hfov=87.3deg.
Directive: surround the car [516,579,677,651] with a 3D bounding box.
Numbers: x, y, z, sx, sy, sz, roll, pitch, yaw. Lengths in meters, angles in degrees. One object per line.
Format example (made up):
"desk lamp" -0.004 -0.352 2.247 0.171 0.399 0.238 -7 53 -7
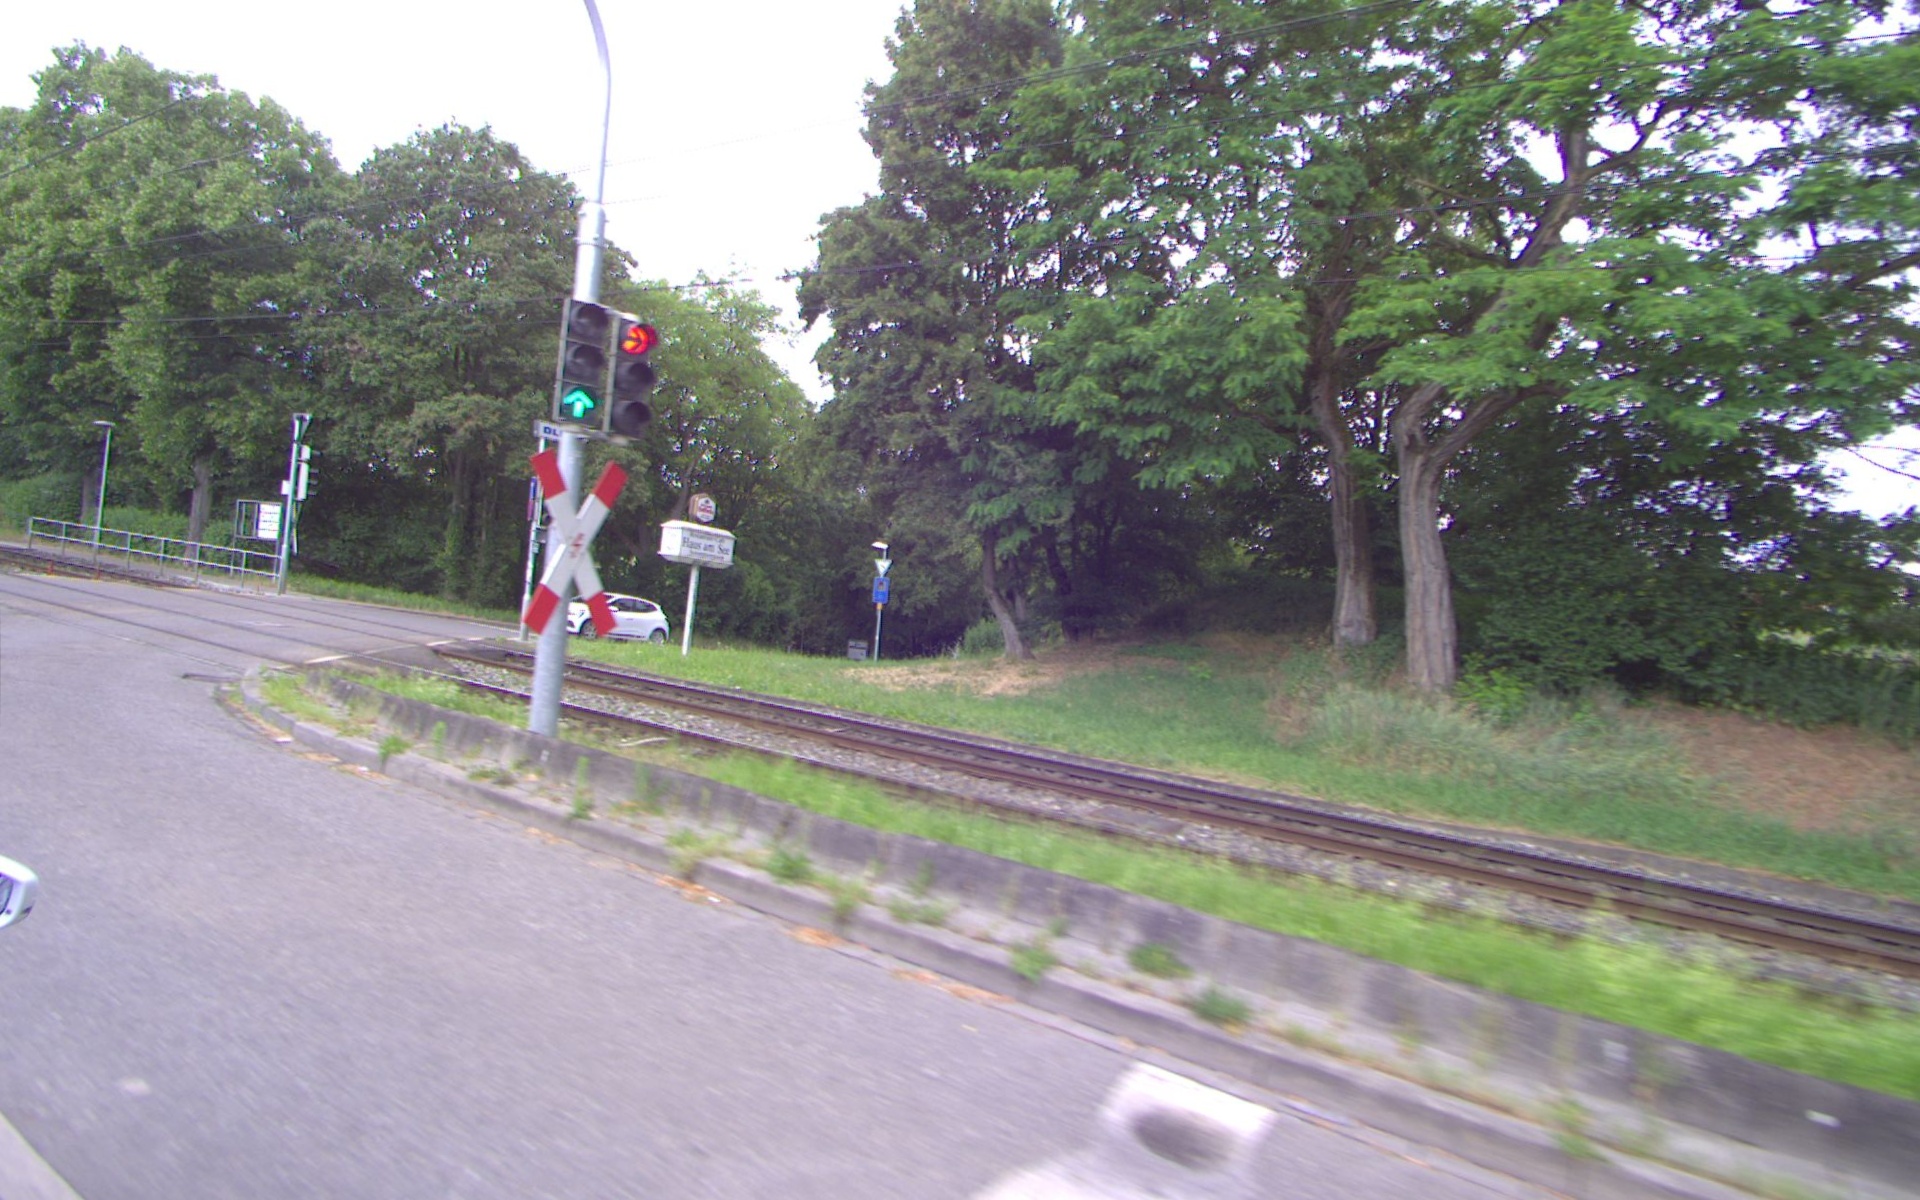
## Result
"car" -10.354 0.476 28.973 1.965 1.368 4.005 7 -5 26
